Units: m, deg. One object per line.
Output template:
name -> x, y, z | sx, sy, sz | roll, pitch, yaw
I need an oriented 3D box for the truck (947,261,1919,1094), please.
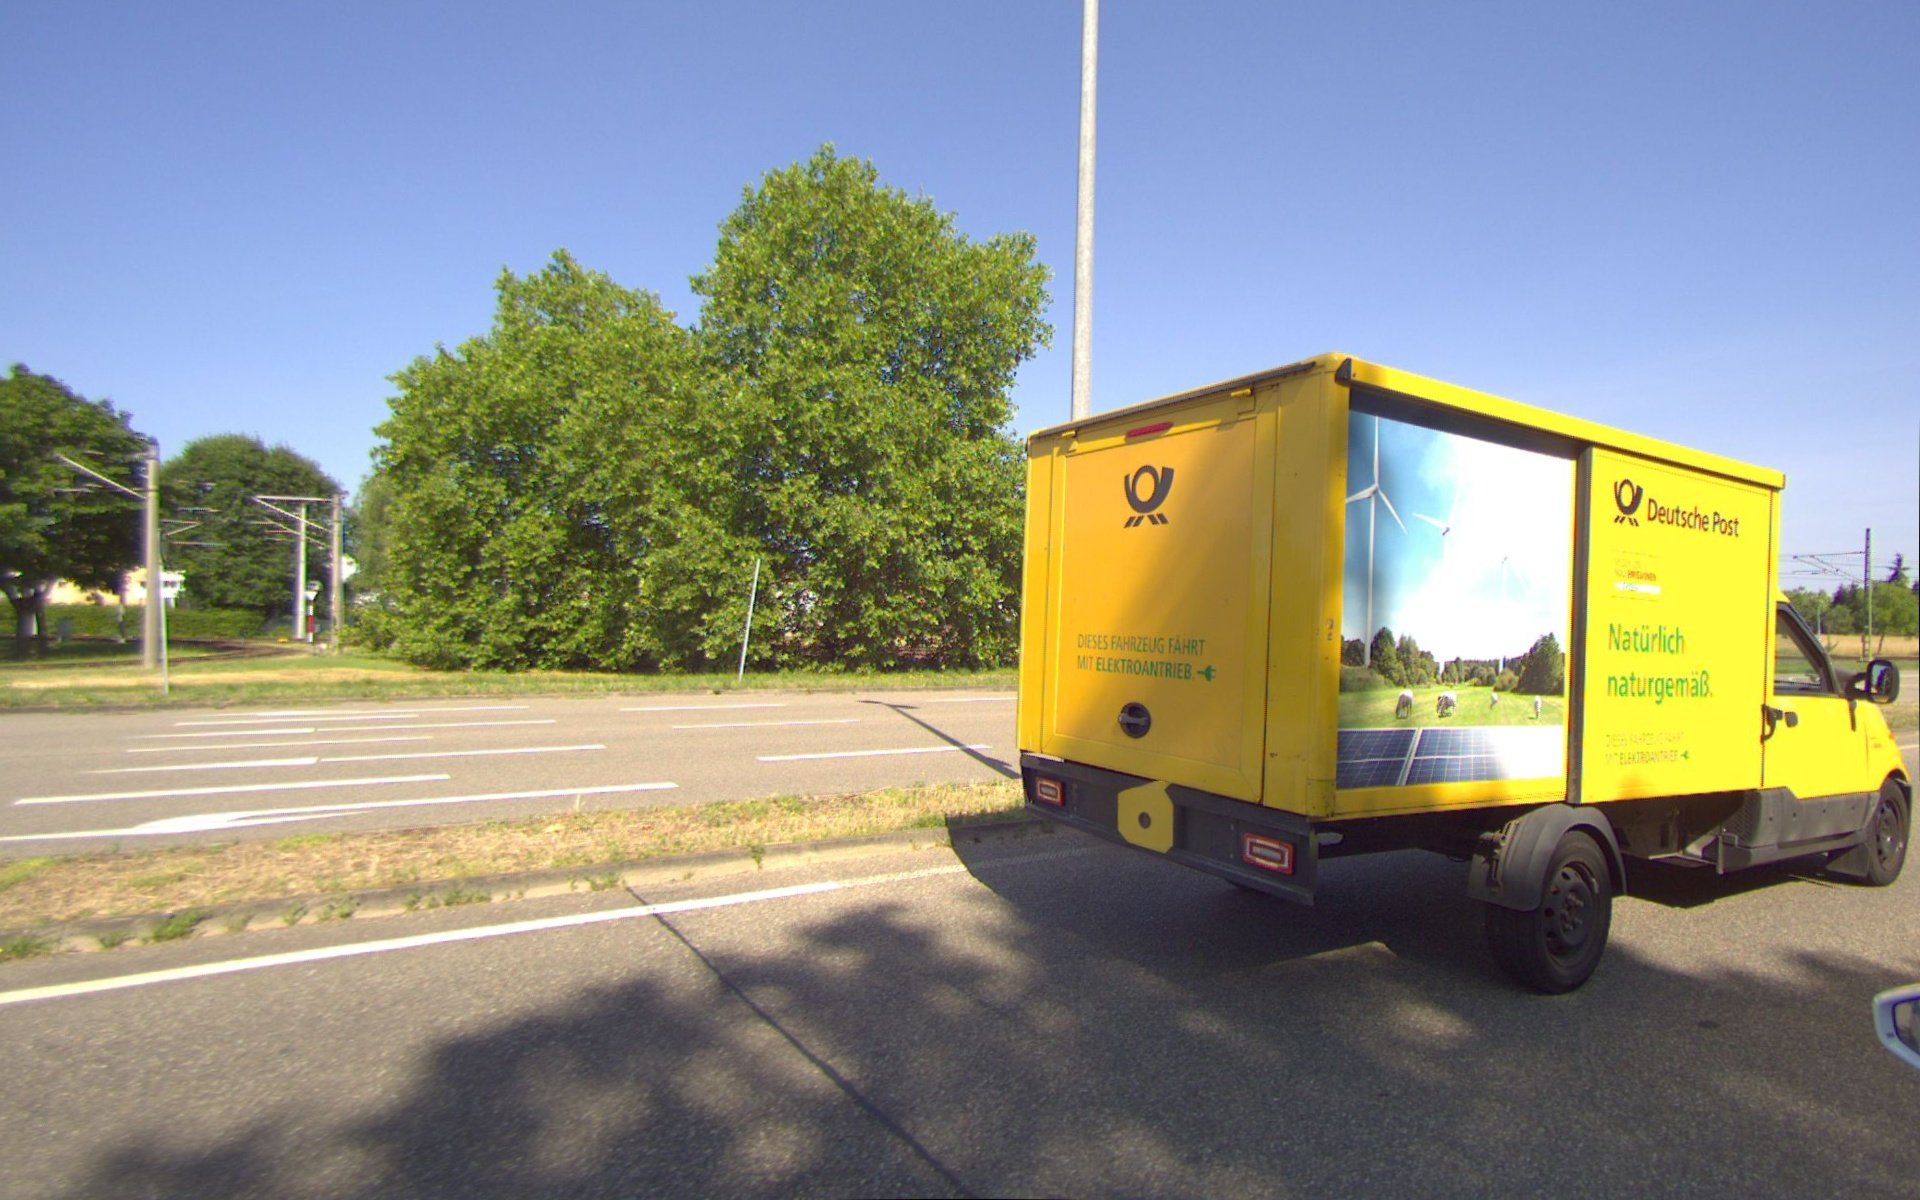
truck -> 2.995, 0.291, 5.392 | 5.847, 2.490, 2.102 | 1, 0, -30
